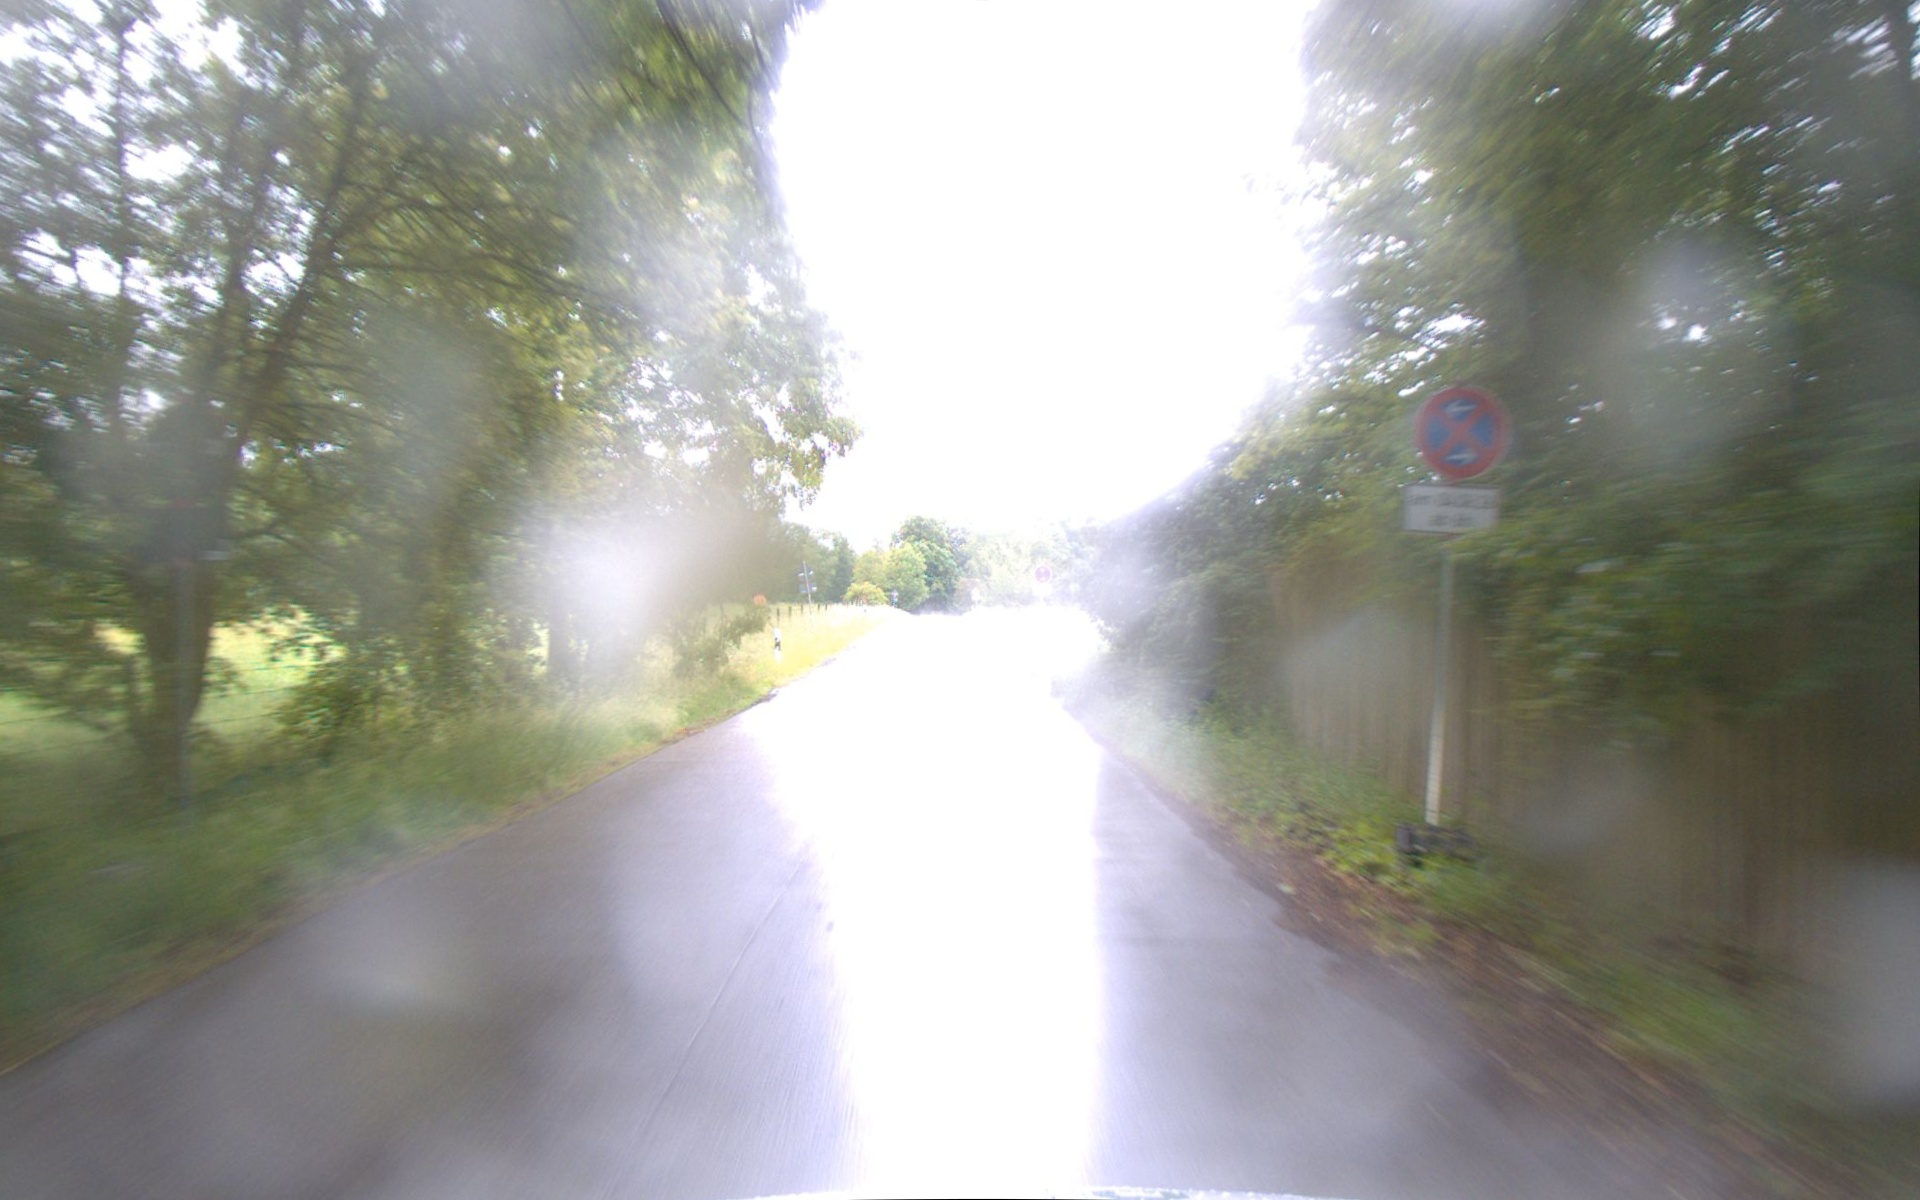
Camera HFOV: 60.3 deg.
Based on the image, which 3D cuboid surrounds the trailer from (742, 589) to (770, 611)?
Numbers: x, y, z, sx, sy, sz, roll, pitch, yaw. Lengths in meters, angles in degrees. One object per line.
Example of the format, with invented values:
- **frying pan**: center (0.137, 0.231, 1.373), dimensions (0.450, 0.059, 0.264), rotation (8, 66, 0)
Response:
- **trailer**: center (-14.466, 0.016, 117.261), dimensions (1.720, 1.531, 3.082), rotation (1, 0, -11)
